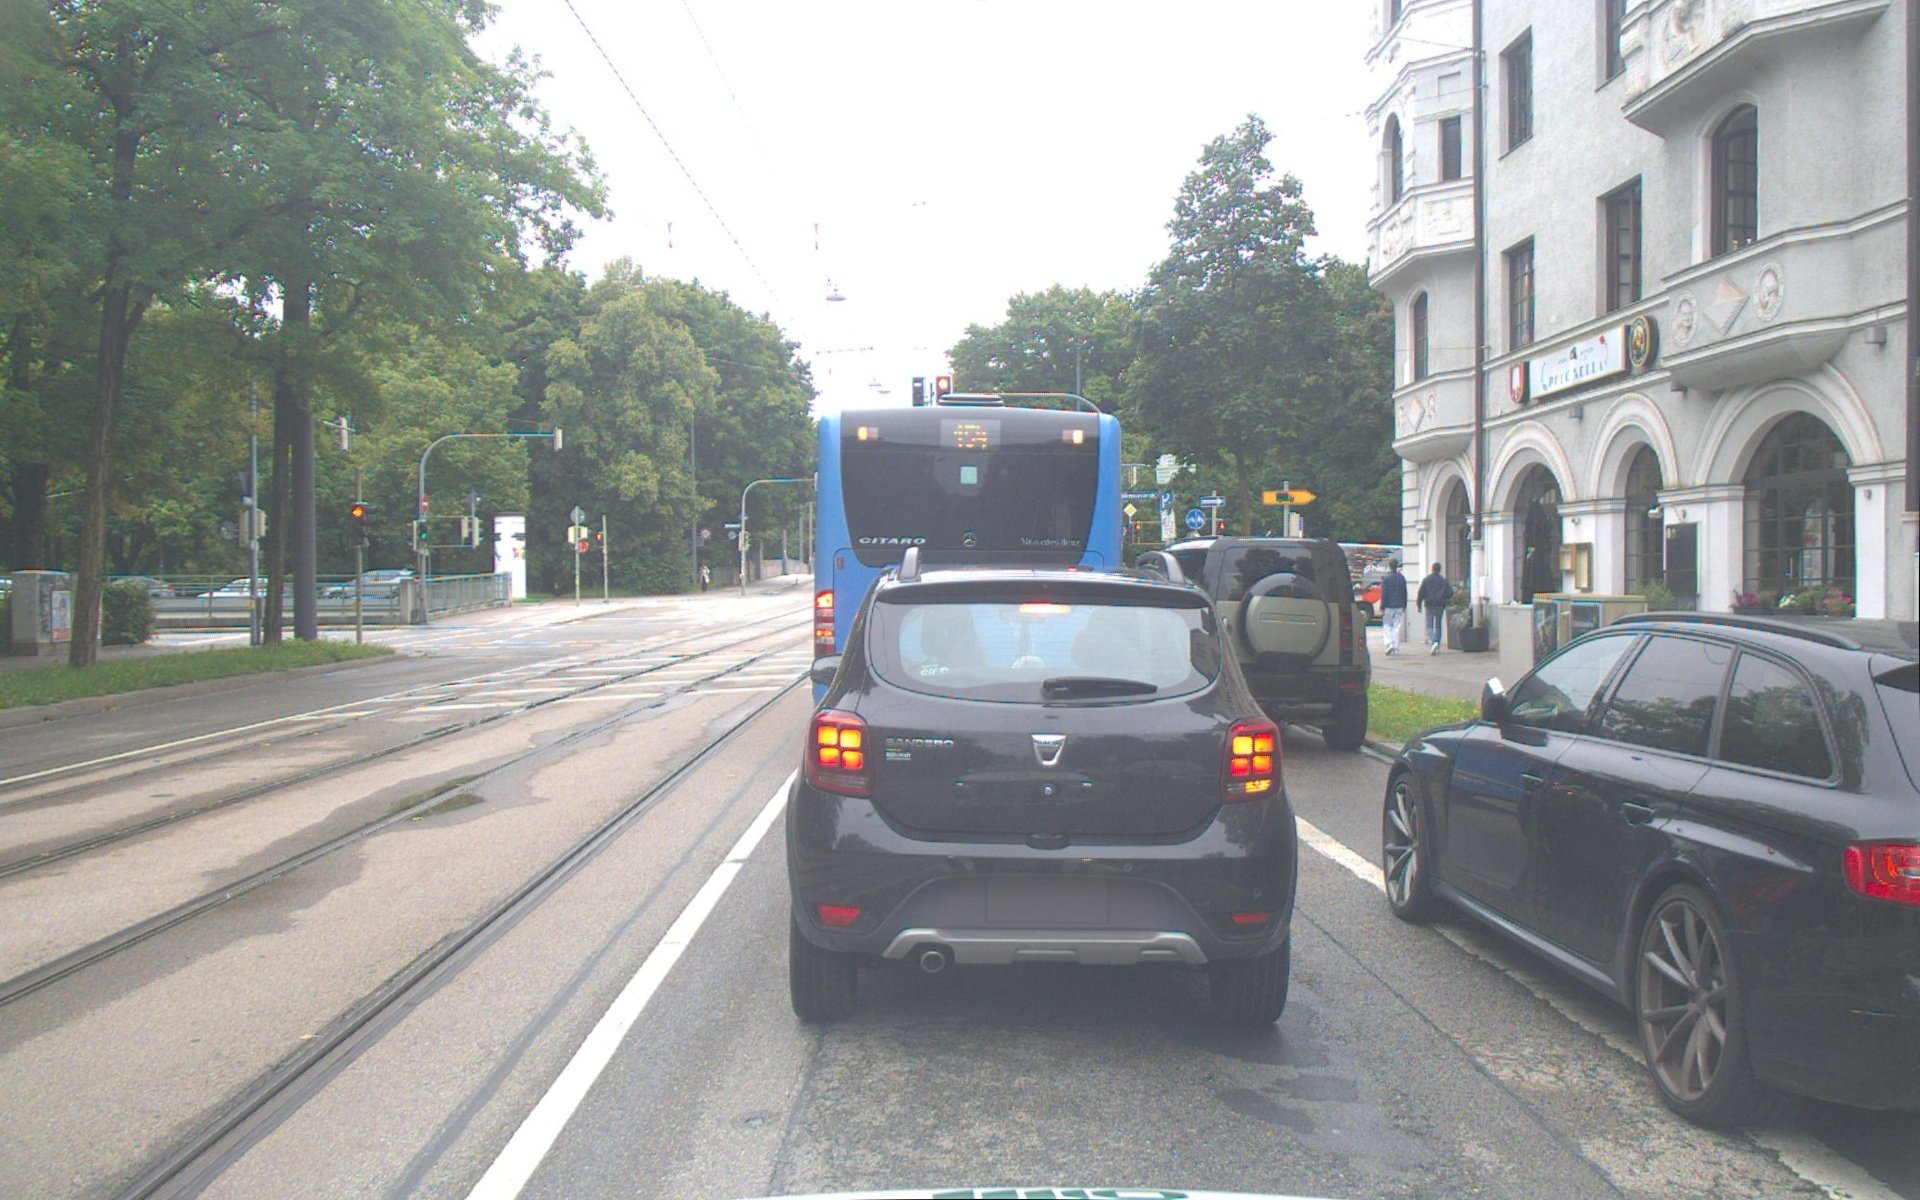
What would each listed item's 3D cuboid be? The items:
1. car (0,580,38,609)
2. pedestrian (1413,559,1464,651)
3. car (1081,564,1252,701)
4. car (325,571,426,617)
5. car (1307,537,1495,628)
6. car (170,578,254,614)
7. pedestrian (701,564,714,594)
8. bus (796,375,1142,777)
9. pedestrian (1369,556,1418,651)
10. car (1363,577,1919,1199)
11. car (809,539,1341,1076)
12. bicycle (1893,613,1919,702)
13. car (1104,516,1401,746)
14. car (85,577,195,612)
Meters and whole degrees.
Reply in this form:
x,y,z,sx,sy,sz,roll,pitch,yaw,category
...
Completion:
x,y,z,sx,sy,sz,roll,pitch,yaw,category
-42.032,-0.250,71.405,3.656,1.206,1.249,1,0,-6,car
9.312,0.093,32.200,0.690,1.762,0.843,1,0,-1,pedestrian
2.664,0.381,22.216,1.679,1.619,4.326,1,0,-1,car
-25.726,-0.263,72.870,3.946,1.920,1.488,1,0,-8,car
13.723,-0.550,51.674,5.191,2.658,2.229,1,0,-4,car
-32.598,-0.181,72.098,3.050,1.477,1.249,1,0,-6,car
-13.235,-1.106,86.760,0.520,1.527,0.588,1,0,4,pedestrian
-0.077,-0.201,16.292,2.625,3.050,6.957,1,0,-3,bus
8.538,0.065,32.590,0.690,1.848,0.869,1,0,-1,pedestrian
2.917,0.681,5.964,1.681,1.451,4.601,1,0,-1,car
0.308,0.616,6.730,1.568,1.584,3.524,1,0,-1,car
10.453,0.620,17.852,0.254,0.947,0.886,1,0,0,bicycle
2.730,0.255,16.613,1.876,1.939,4.805,1,0,-3,car
-35.633,-0.239,71.947,3.848,1.429,1.719,1,0,-5,car
